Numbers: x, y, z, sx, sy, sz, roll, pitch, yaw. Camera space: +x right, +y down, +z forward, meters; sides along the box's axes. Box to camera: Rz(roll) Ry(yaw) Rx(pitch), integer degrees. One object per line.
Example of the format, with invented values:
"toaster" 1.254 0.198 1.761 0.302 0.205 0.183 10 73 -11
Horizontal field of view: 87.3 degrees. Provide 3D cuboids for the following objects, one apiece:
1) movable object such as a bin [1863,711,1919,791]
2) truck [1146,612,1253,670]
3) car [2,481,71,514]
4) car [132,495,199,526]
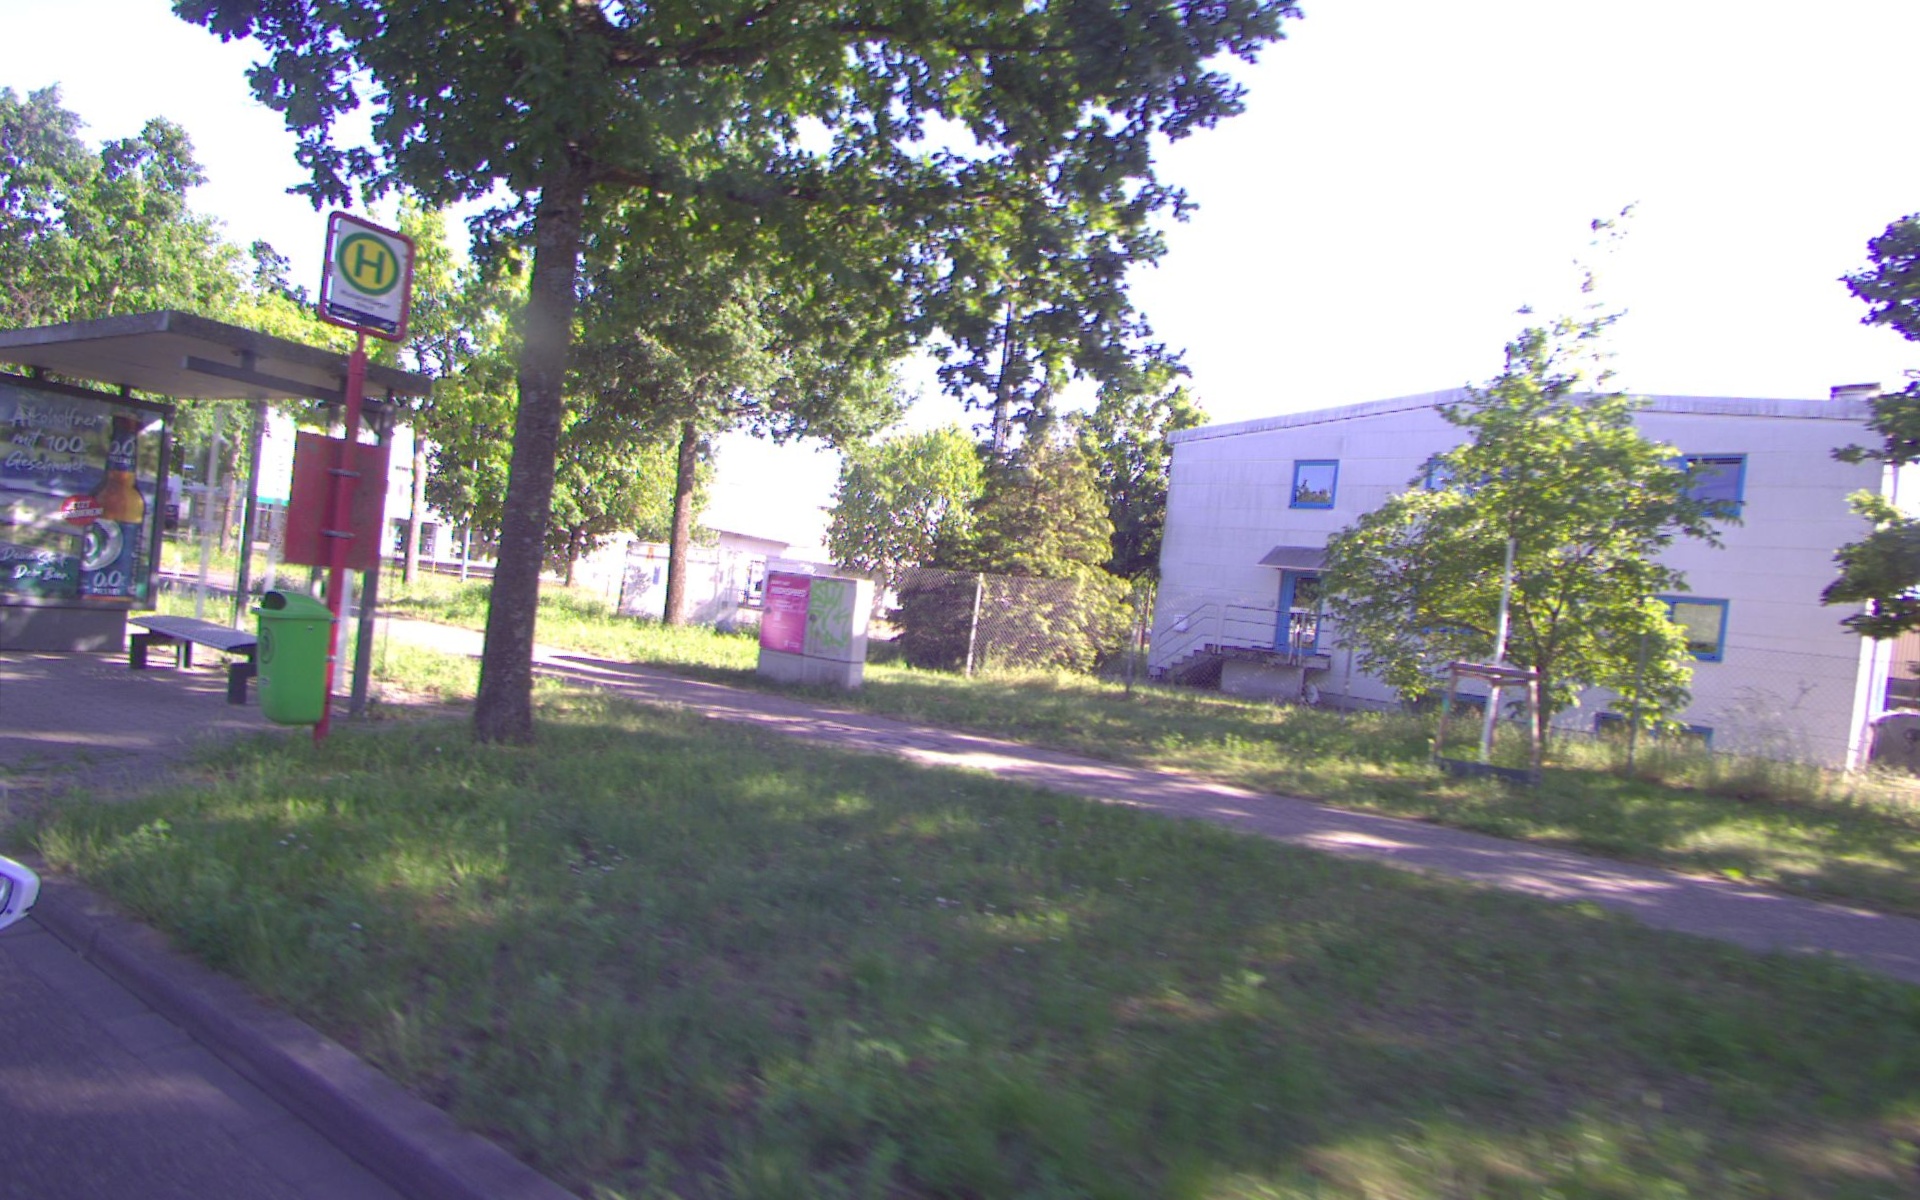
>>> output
"movable object such as a bin" 18.853 3.004 20.033 1.180 1.424 1.046 6 1 -42
"truck" 10.783 1.858 45.057 5.118 2.138 1.977 7 -2 -42
"car" -67.179 -7.487 73.180 4.560 1.766 2.189 7 1 27
"car" -48.782 -5.511 61.764 3.701 1.401 1.768 7 1 26
